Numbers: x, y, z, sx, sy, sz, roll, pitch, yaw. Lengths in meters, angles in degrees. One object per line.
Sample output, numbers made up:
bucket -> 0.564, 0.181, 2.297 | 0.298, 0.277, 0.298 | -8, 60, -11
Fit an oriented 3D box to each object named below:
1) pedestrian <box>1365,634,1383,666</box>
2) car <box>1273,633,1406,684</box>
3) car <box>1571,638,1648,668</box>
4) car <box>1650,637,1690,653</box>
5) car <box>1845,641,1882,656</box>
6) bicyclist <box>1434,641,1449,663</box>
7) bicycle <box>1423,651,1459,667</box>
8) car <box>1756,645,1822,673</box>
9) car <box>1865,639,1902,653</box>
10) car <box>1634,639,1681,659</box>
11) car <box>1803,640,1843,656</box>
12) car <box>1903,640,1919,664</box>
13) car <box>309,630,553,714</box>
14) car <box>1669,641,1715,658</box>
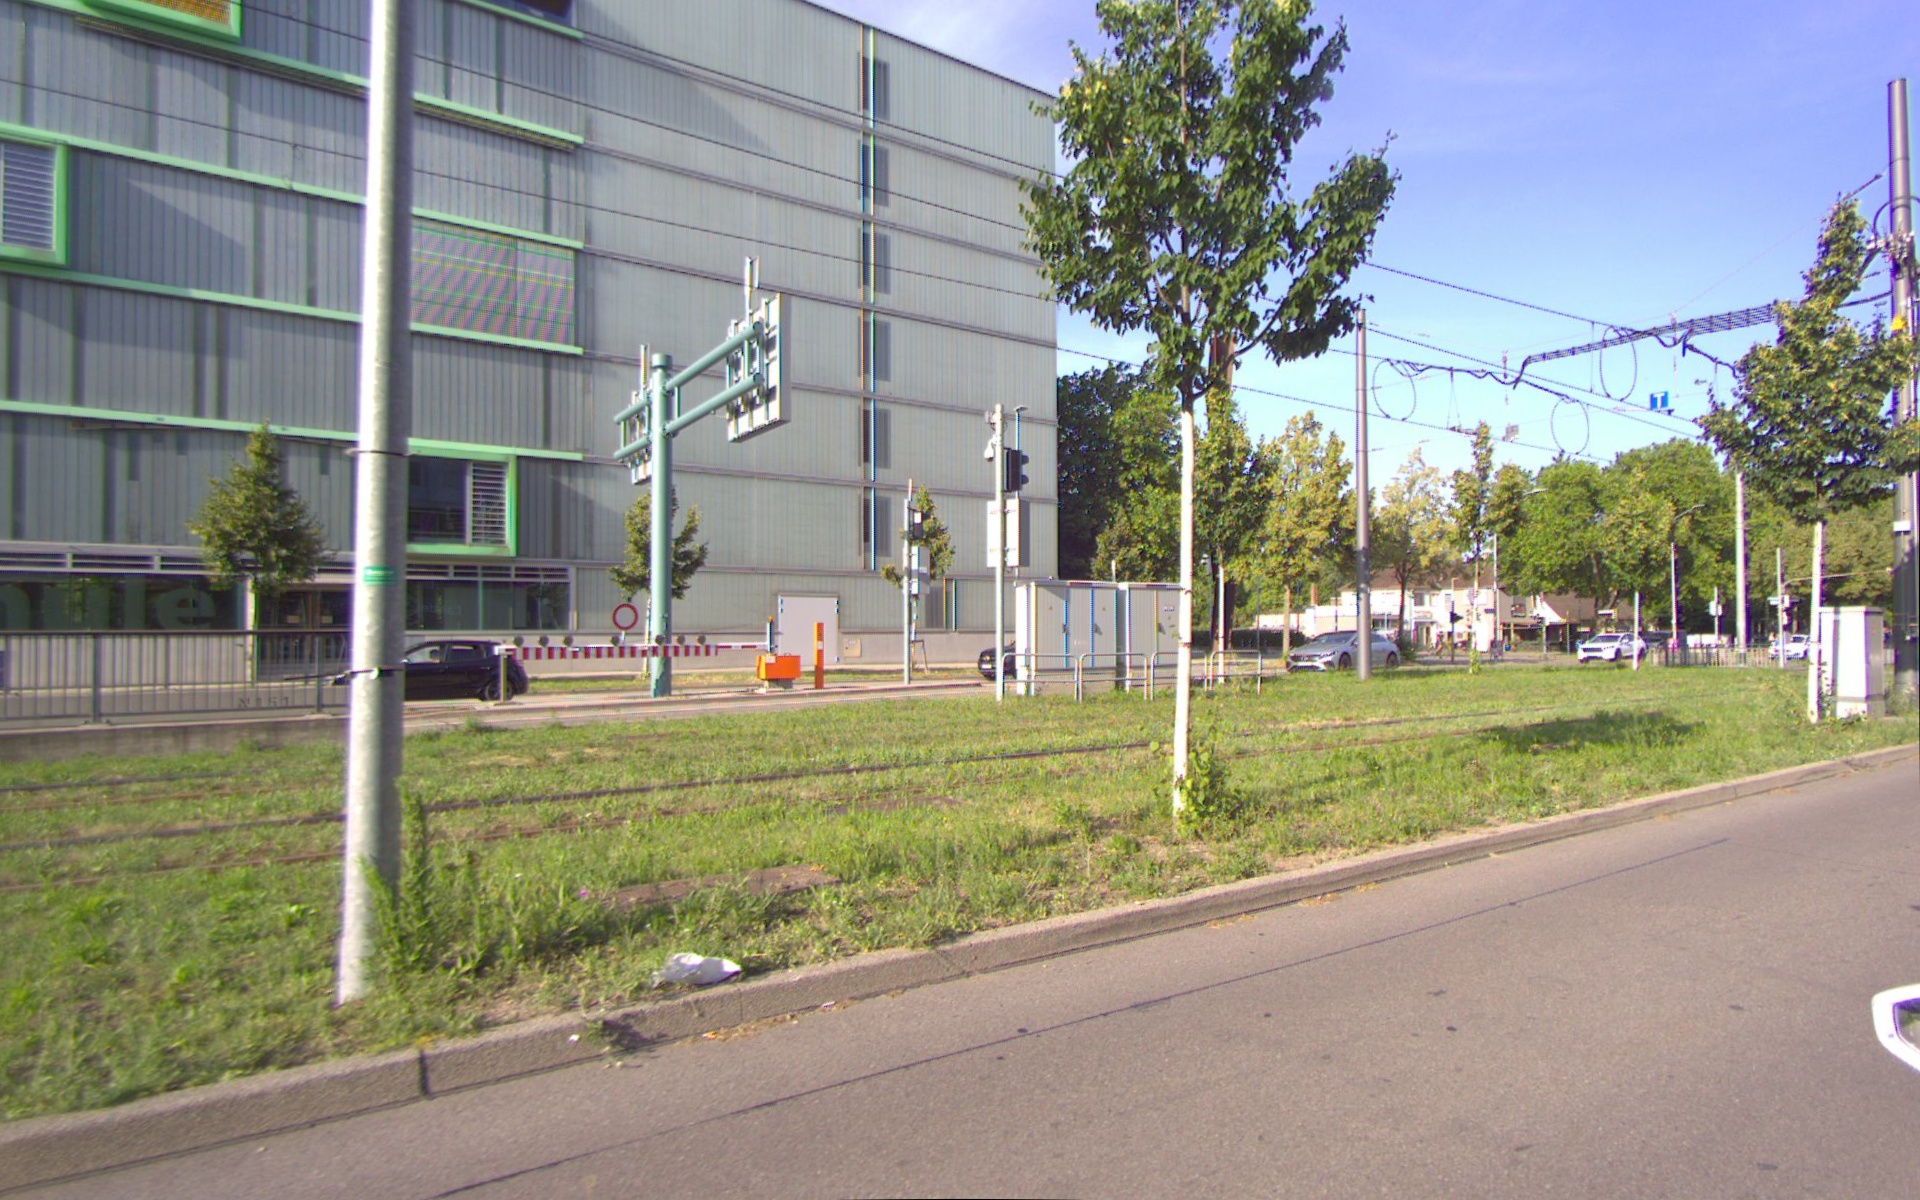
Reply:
pedestrian -> 27.557, 3.349, 66.862 | 0.864, 2.135, 0.724 | -1, -3, -4
car -> 12.865, 1.951, 33.937 | 4.871, 1.547, 1.979 | 1, -6, -39
car -> 34.851, 2.814, 53.891 | 4.395, 1.548, 1.894 | 1, -2, -34
car -> 74.888, 4.750, 105.940 | 3.951, 1.580, 1.874 | 2, -3, -29
car -> 98.932, 5.332, 109.988 | 3.951, 1.580, 1.874 | 2, -3, -29
bicyclist -> 33.170, 3.567, 69.199 | 0.836, 1.512, 0.698 | -1, -2, 34
bicycle -> 33.155, 4.030, 69.191 | 2.166, 1.055, 0.698 | -1, -2, 34
car -> 49.428, 3.497, 59.847 | 4.269, 1.548, 1.981 | 1, -2, -35
car -> 103.358, 5.156, 112.404 | 3.951, 1.580, 1.874 | 2, -3, -29
car -> 61.546, 4.316, 88.638 | 3.951, 1.773, 1.874 | 2, -3, -29
car -> 90.689, 5.049, 105.524 | 3.951, 1.580, 1.874 | 2, -3, -29
car -> 72.859, 3.878, 75.434 | 4.943, 1.707, 1.981 | 1, -2, -34
car -> -11.832, 1.536, 22.600 | 4.678, 1.709, 1.981 | 1, -2, -35
car -> 66.752, 4.511, 91.610 | 3.951, 1.580, 1.874 | 2, -3, -29
